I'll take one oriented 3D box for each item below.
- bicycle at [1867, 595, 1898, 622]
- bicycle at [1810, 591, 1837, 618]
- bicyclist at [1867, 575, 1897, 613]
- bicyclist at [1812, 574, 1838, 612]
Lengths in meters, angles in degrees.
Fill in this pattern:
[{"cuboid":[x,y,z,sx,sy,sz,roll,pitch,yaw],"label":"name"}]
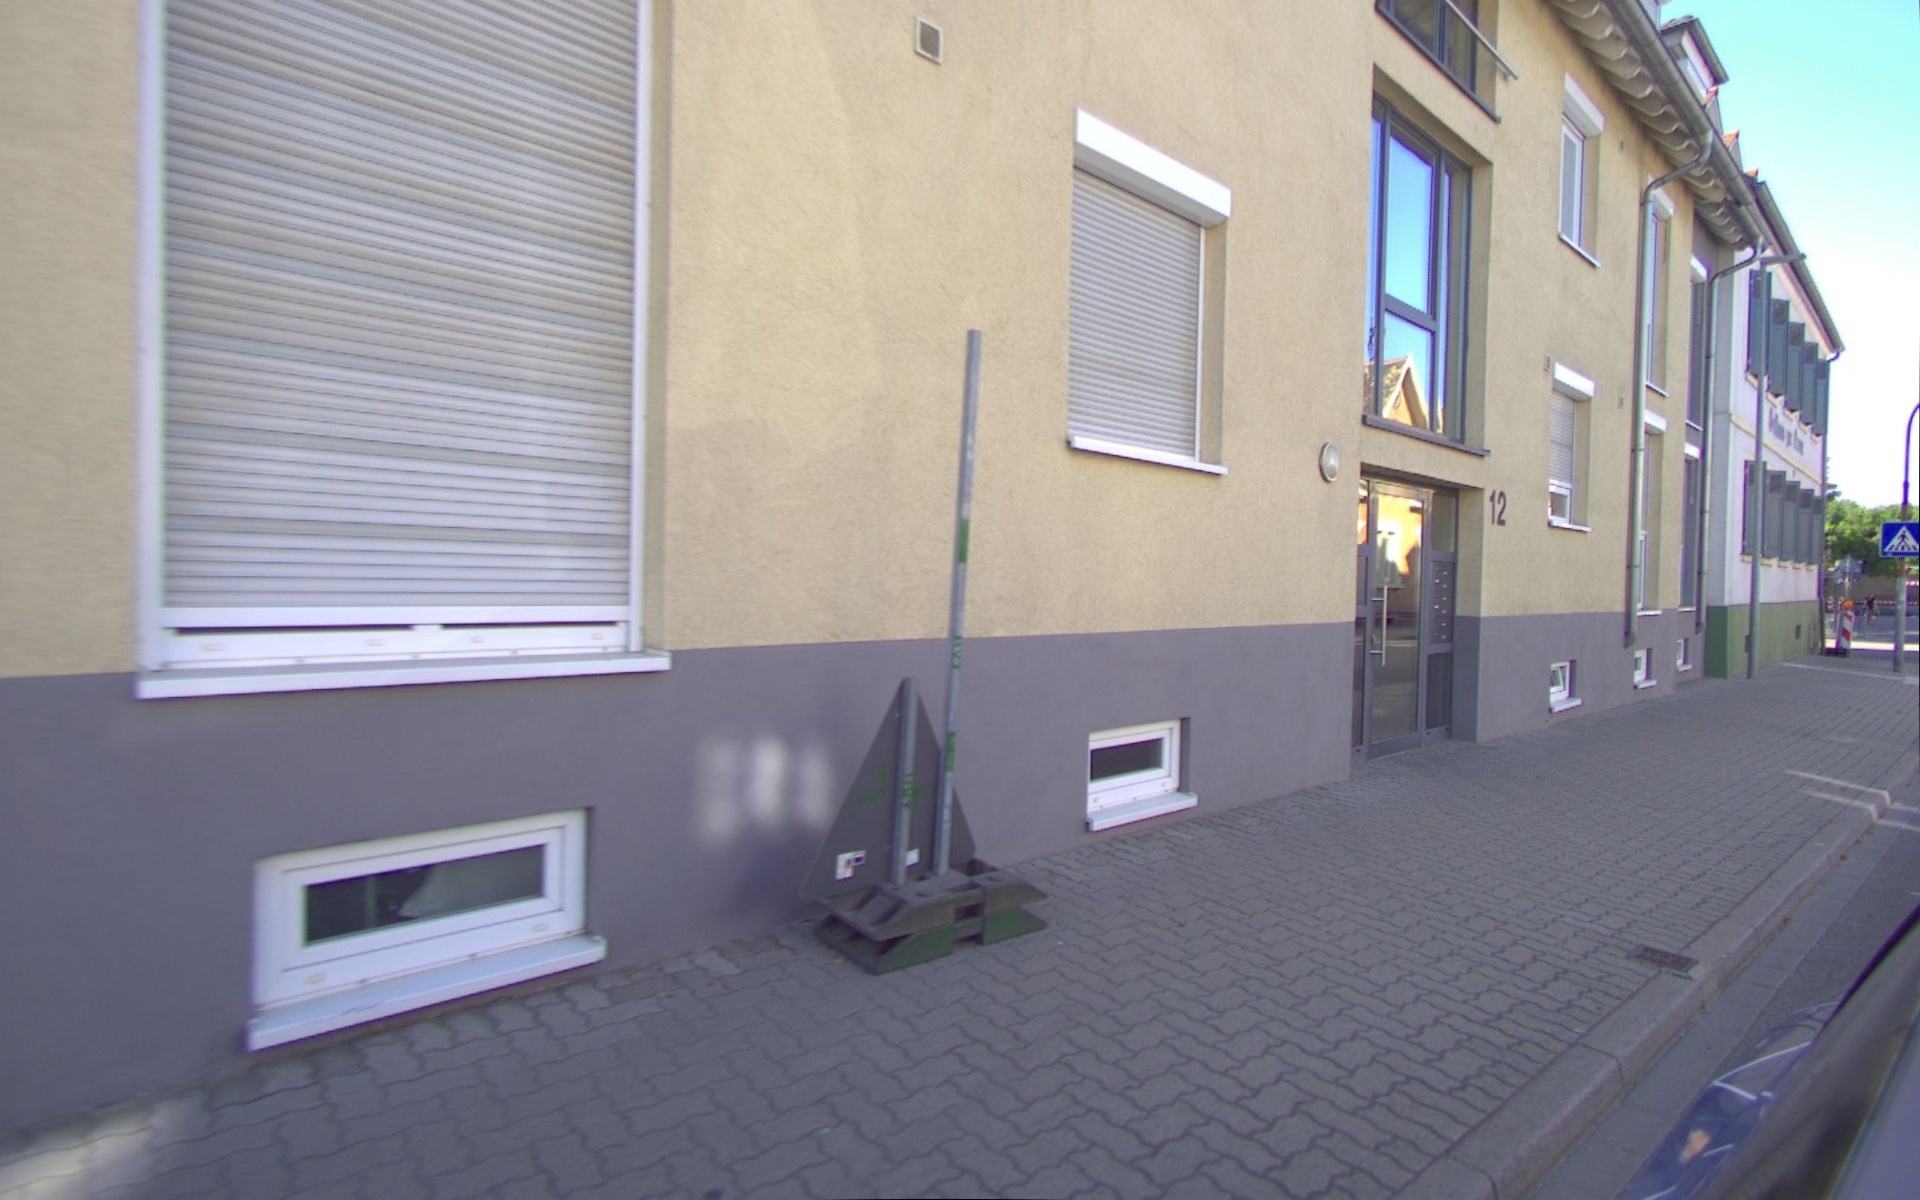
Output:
[{"cuboid":[56.444,0.521,61.911,1.254,1.571,3.937,-1,0,44],"label":"bicycle"},{"cuboid":[36.947,0.179,43.290,0.668,1.076,1.788,7,6,45],"label":"bicycle"},{"cuboid":[56.458,-0.367,61.976,1.254,2.337,1.223,-1,0,45],"label":"bicyclist"},{"cuboid":[37.009,-0.307,43.303,0.899,1.557,0.668,-1,5,-45],"label":"bicyclist"}]
